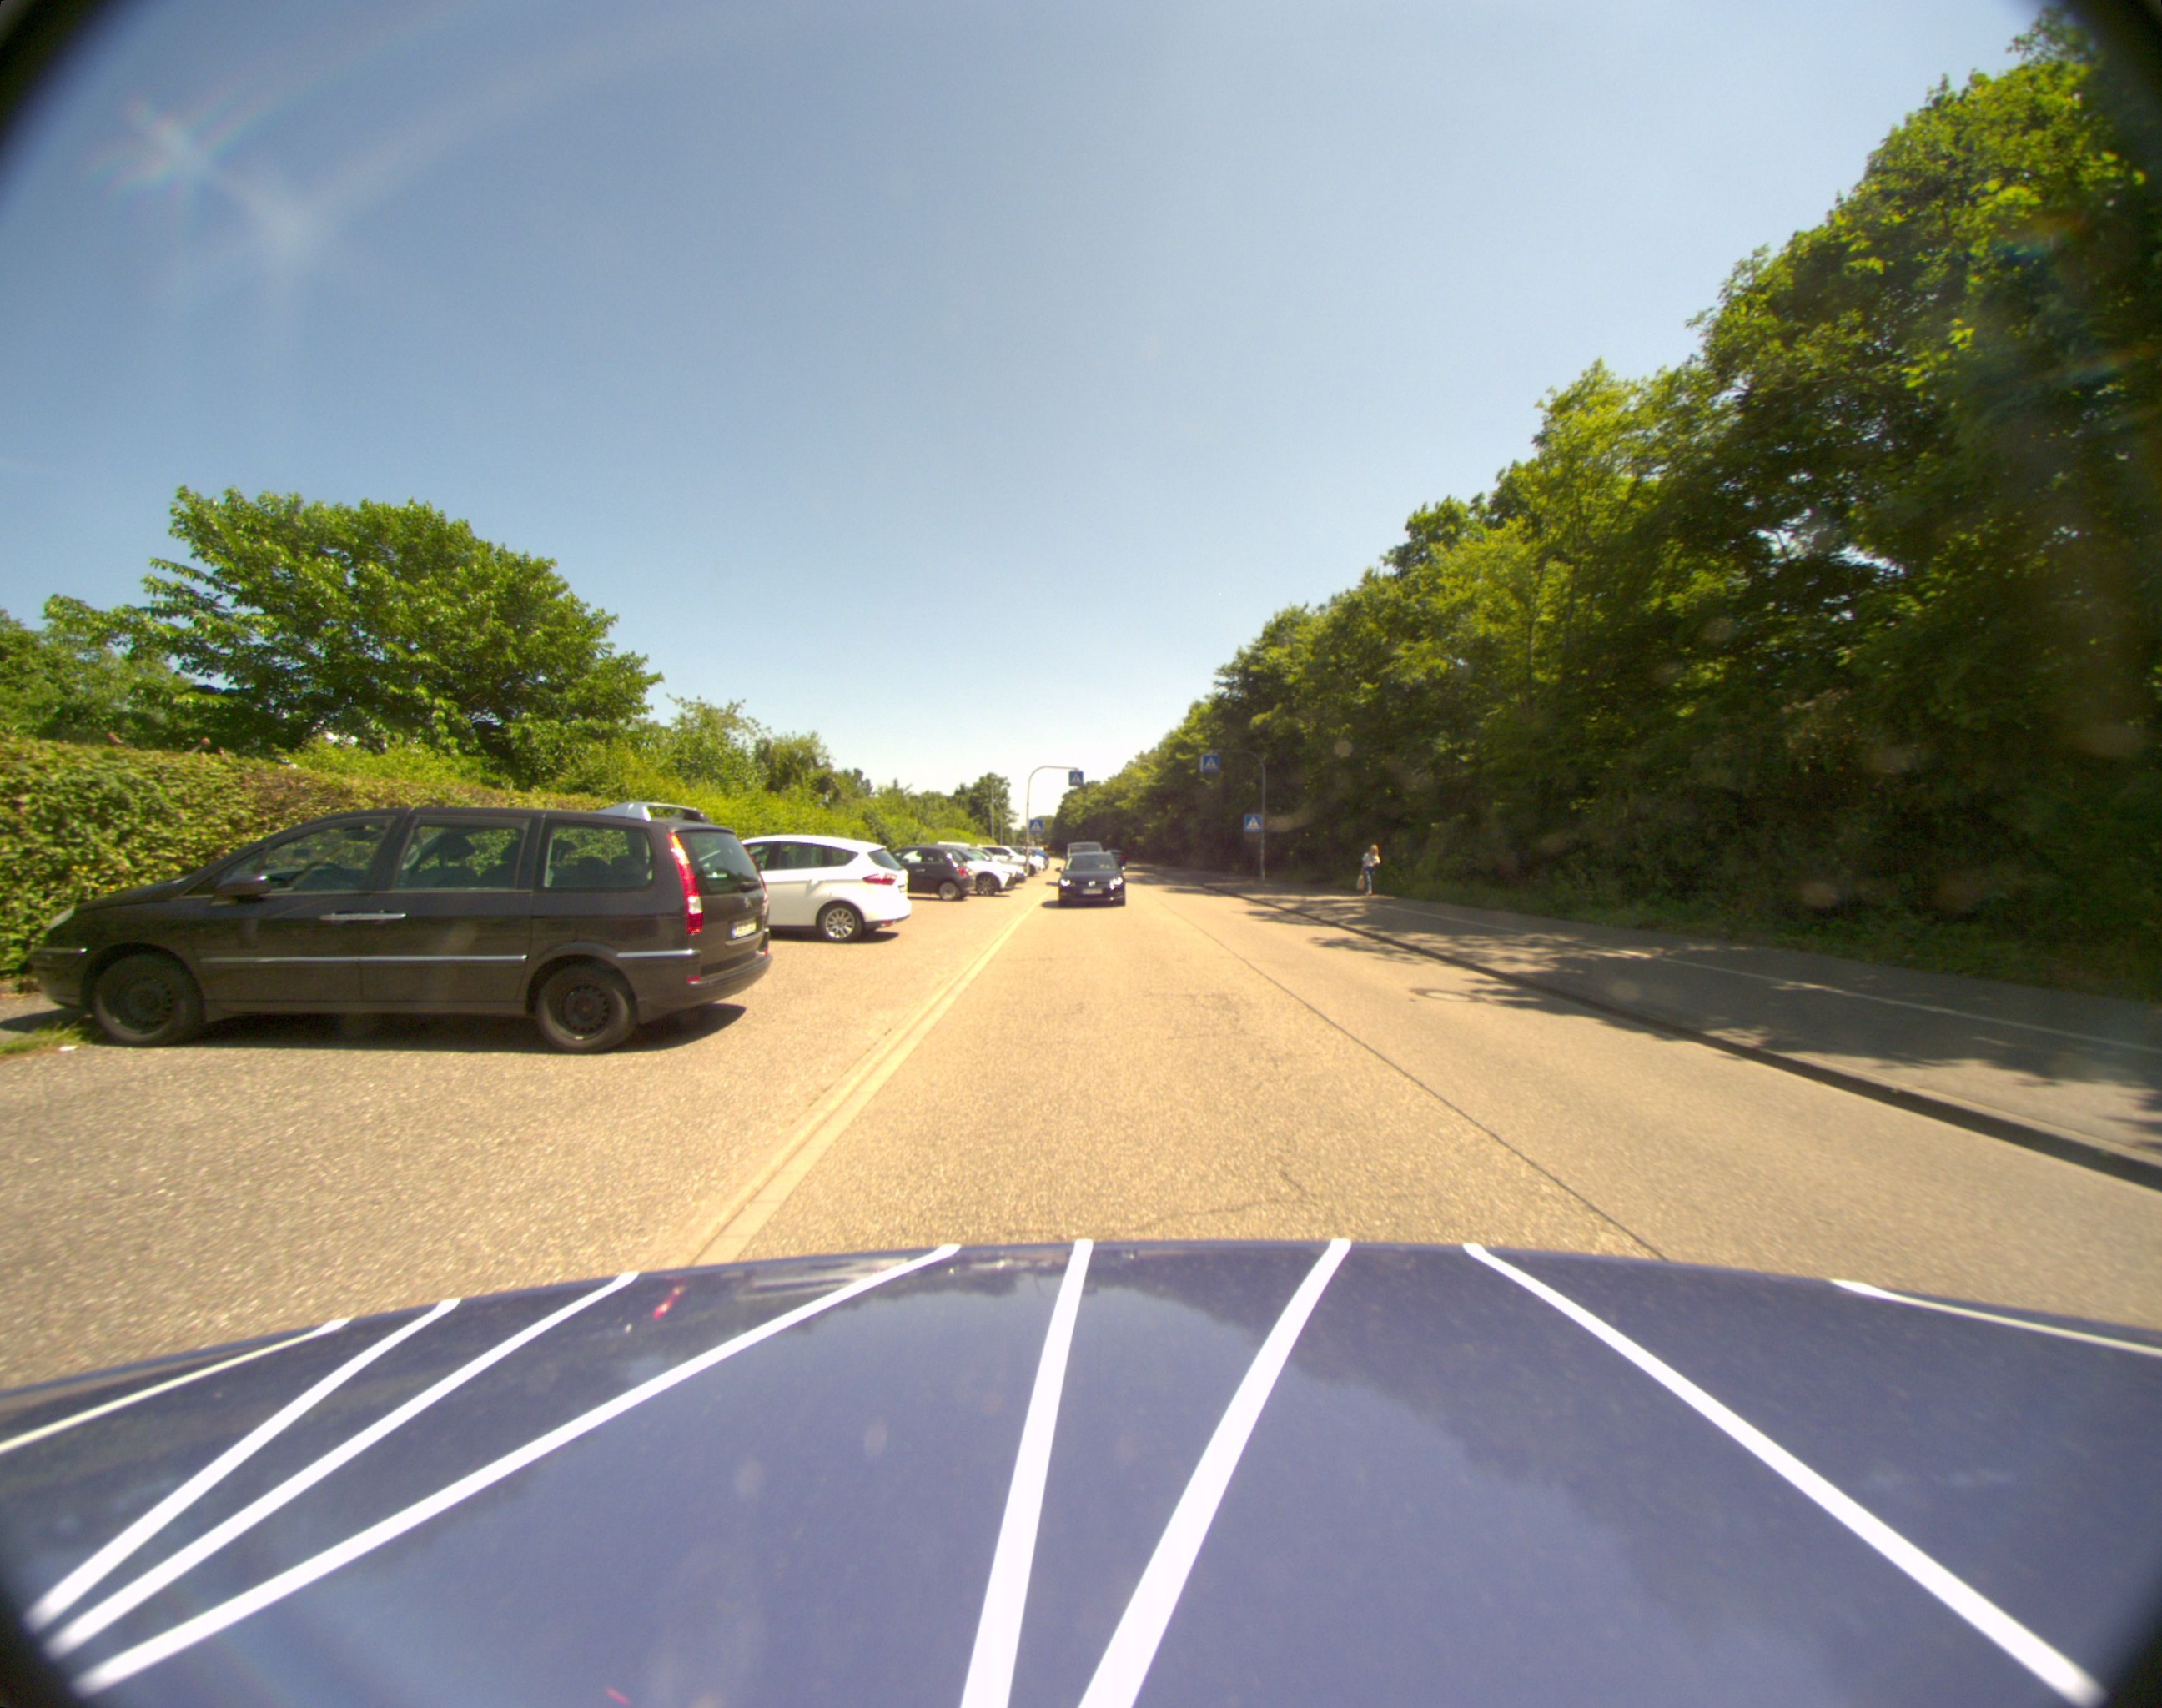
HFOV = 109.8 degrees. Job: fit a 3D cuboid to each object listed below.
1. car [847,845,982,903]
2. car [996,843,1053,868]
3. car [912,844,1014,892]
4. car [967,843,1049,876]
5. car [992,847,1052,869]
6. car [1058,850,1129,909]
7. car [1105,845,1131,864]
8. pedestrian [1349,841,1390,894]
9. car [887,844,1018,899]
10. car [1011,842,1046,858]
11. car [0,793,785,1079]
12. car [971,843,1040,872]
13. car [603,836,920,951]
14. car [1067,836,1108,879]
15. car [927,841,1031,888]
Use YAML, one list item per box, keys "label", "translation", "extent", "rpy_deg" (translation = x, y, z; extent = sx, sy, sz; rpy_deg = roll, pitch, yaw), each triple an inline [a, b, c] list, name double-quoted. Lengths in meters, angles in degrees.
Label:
- label: "car"
  translation: [-4.682, 0.547, 21.614]
  extent: [3.395, 1.495, 1.588]
  rpy_deg: [2, 0, 3]
- label: "car"
  translation: [-4.161, 0.115, 56.100]
  extent: [4.036, 1.632, 1.673]
  rpy_deg: [2, 1, -1]
- label: "car"
  translation: [-4.199, 0.482, 27.494]
  extent: [3.462, 1.518, 1.538]
  rpy_deg: [3, 1, -5]
- label: "car"
  translation: [-4.159, 0.292, 43.618]
  extent: [4.465, 1.720, 1.850]
  rpy_deg: [2, 2, 0]
- label: "car"
  translation: [-4.102, 0.267, 53.193]
  extent: [4.037, 1.401, 1.679]
  rpy_deg: [2, 1, -2]
- label: "car"
  translation: [0.251, 0.628, 21.370]
  extent: [1.743, 1.396, 4.386]
  rpy_deg: [-1, 1, -2]
- label: "car"
  translation: [3.249, 0.020, 67.428]
  extent: [1.896, 1.523, 4.195]
  rpy_deg: [3, 1, -1]
- label: "pedestrian"
  translation: [8.984, 0.416, 23.715]
  extent: [0.934, 1.603, 0.885]
  rpy_deg: [-1, 1, -1]
- label: "car"
  translation: [-4.087, 0.537, 24.676]
  extent: [3.974, 1.514, 1.863]
  rpy_deg: [3, 1, -6]
- label: "car"
  translation: [-6.801, -0.510, 98.421]
  extent: [4.494, 1.840, 1.694]
  rpy_deg: [2, 1, -5]
- label: "car"
  translation: [-4.970, 0.555, 6.018]
  extent: [4.466, 1.794, 1.951]
  rpy_deg: [2, 1, -4]
- label: "car"
  translation: [-4.545, 0.200, 46.313]
  extent: [3.983, 1.676, 1.766]
  rpy_deg: [1, 1, -1]
- label: "car"
  translation: [-4.925, 0.587, 12.172]
  extent: [4.287, 1.569, 1.765]
  rpy_deg: [2, 1, -2]
- label: "car"
  translation: [0.245, 0.124, 36.099]
  extent: [1.743, 1.905, 4.386]
  rpy_deg: [-2, 1, -2]
- label: "car"
  translation: [-4.032, 0.415, 30.476]
  extent: [3.972, 1.631, 1.663]
  rpy_deg: [3, 1, -4]
